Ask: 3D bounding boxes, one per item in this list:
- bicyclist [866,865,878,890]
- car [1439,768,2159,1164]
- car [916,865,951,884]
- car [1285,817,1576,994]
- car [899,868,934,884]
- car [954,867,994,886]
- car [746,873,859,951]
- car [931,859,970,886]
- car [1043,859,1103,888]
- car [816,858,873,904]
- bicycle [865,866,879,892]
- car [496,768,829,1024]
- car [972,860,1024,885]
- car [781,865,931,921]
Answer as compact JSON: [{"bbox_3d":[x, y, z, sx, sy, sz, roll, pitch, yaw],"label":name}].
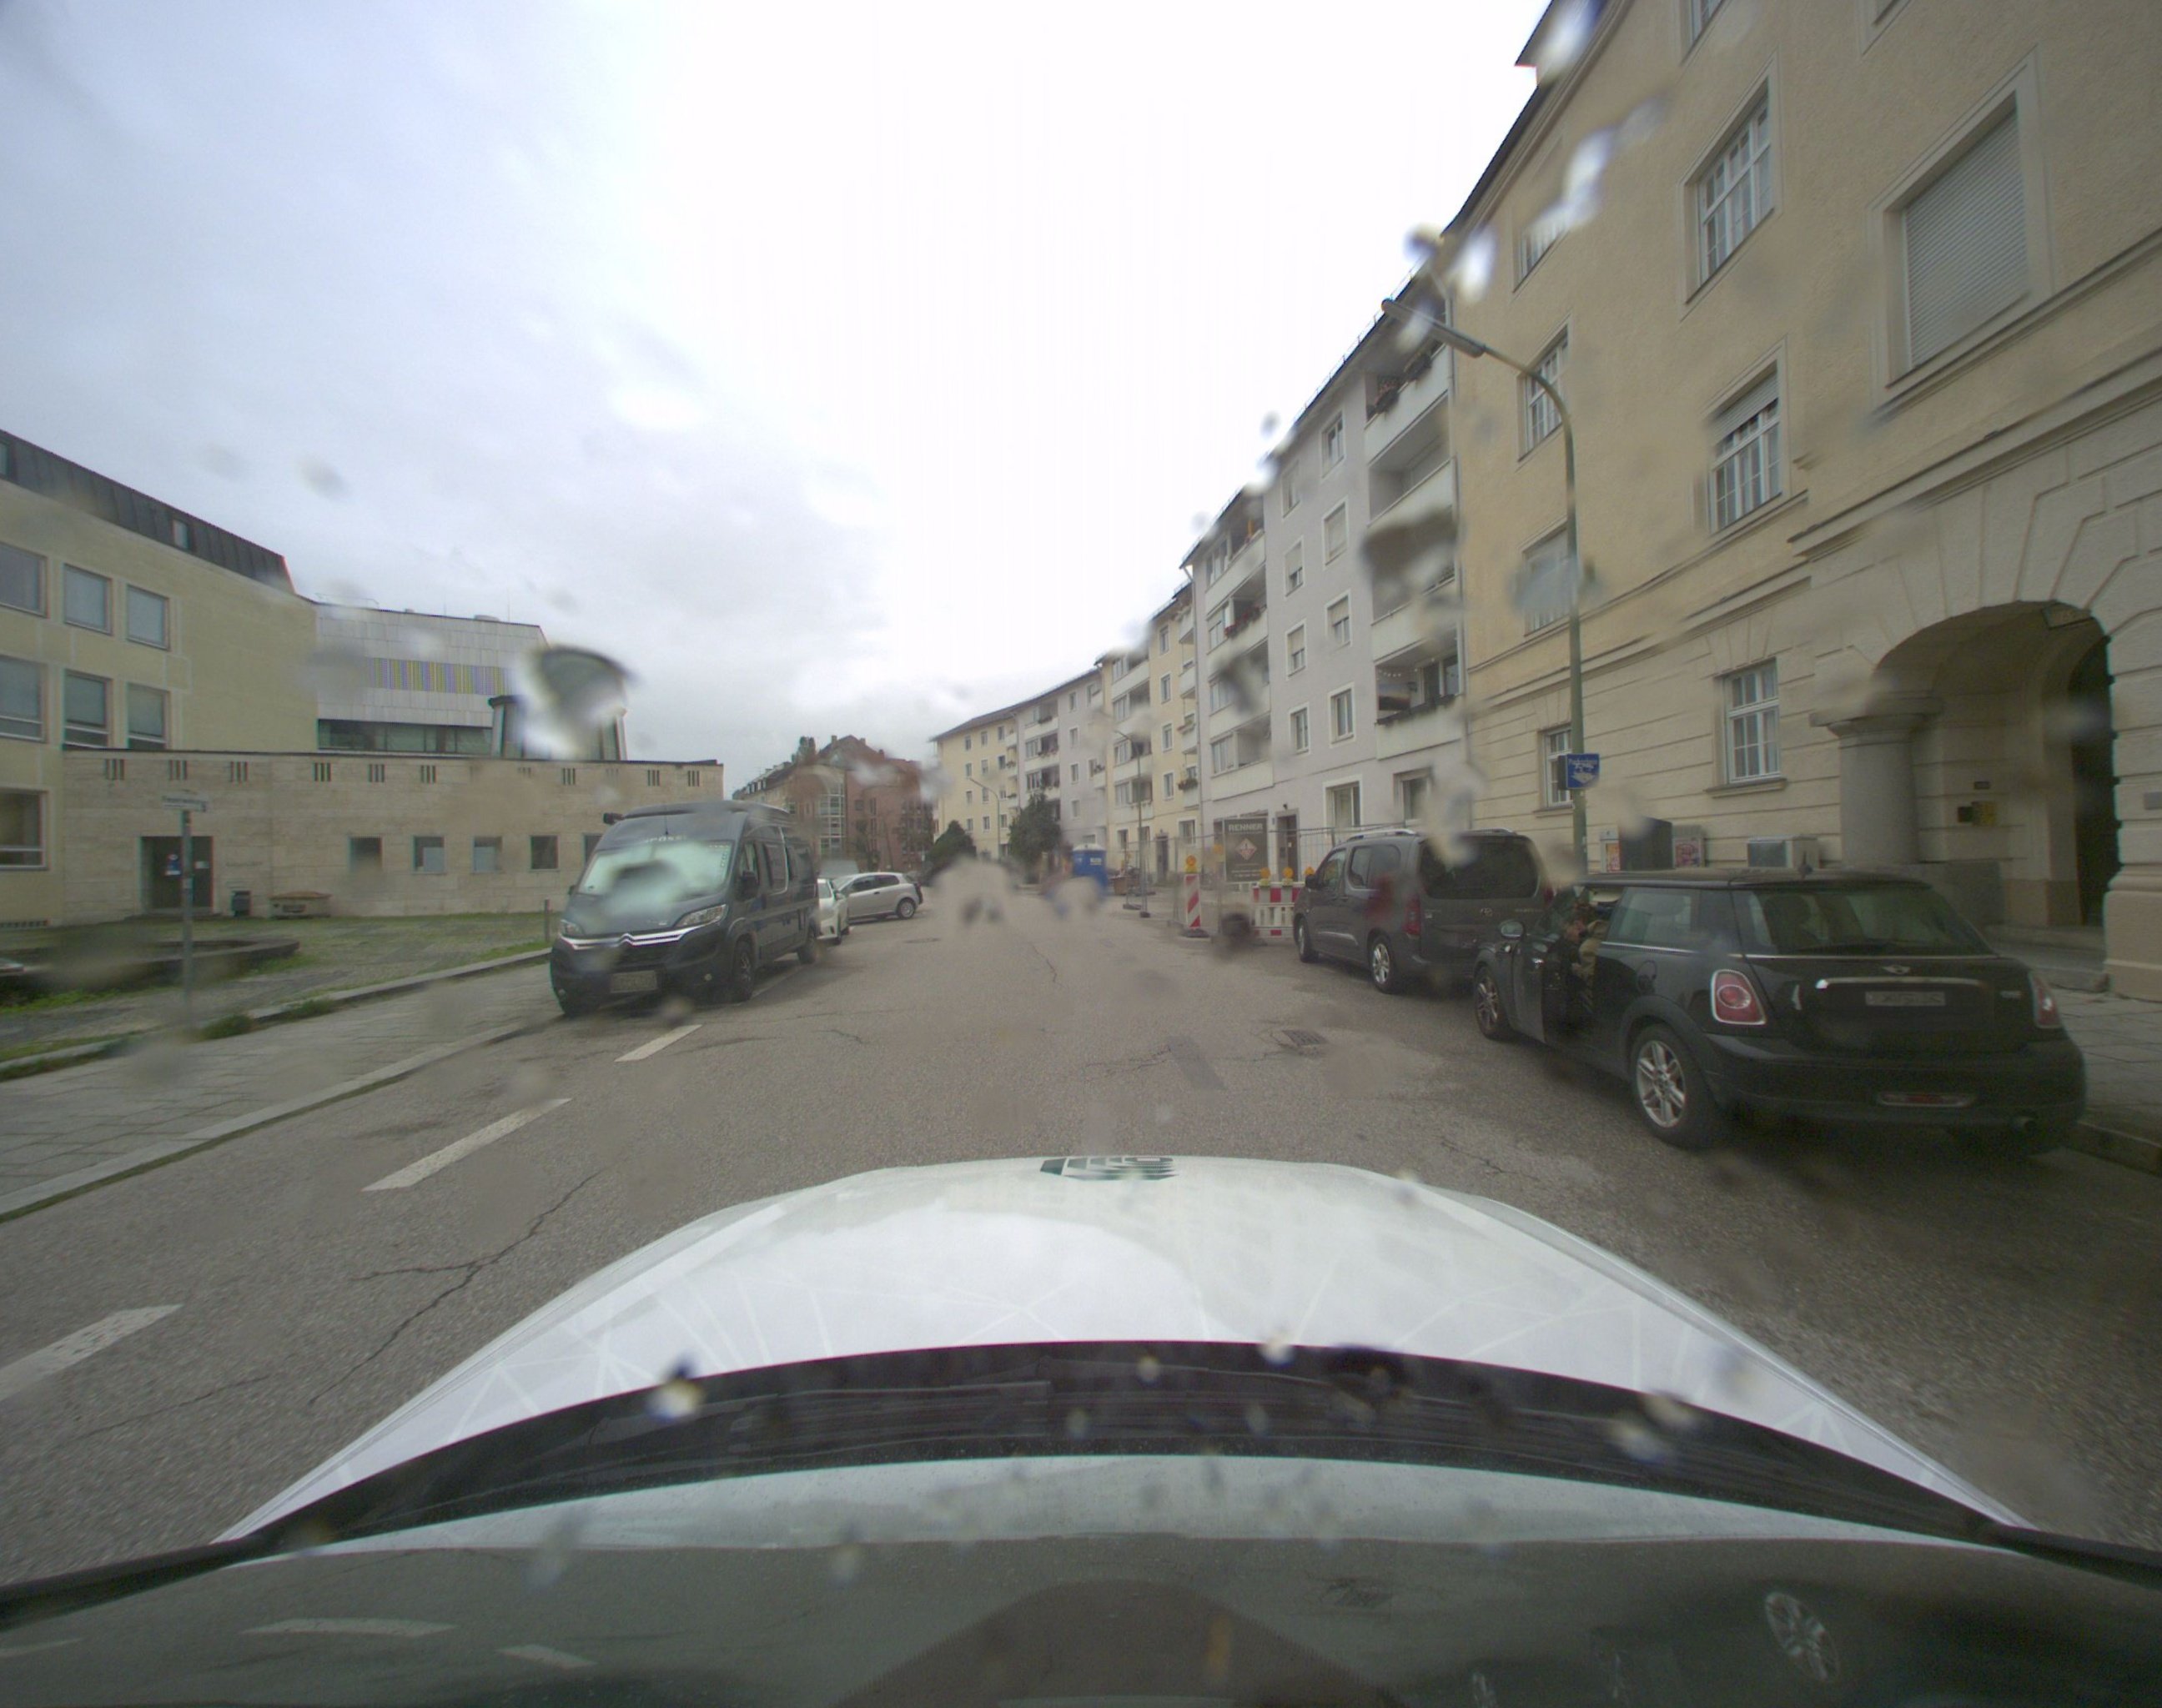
[{"bbox_3d":[-14.732,1.624,57.311,0.749,1.717,1.026,-2,0,-16],"label":"bicyclist"},{"bbox_3d":[3.995,0.517,5.512,1.827,1.730,3.736,0,-1,6],"label":"car"},{"bbox_3d":[-12.825,1.809,70.636,1.668,1.566,4.473,1,-2,-28],"label":"car"},{"bbox_3d":[4.111,0.559,10.446,1.831,1.799,4.235,0,-1,-2],"label":"car"},{"bbox_3d":[-15.112,2.006,74.606,1.767,1.396,4.001,1,-3,-34],"label":"car"},{"bbox_3d":[-8.126,1.739,61.544,1.669,1.349,3.766,1,-3,-31],"label":"car"},{"bbox_3d":[-6.192,1.215,18.558,1.829,1.387,4.124,-5,0,-12],"label":"car"},{"bbox_3d":[-10.558,1.483,65.749,1.757,2.082,4.474,1,-1,-28],"label":"car"},{"bbox_3d":[-0.485,1.004,42.751,1.836,1.442,4.598,1,-1,-19],"label":"car"},{"bbox_3d":[-10.135,1.100,34.678,2.000,1.772,4.782,-1,0,-20],"label":"car"},{"bbox_3d":[-14.783,1.735,57.496,0.797,1.722,3.098,-4,1,-16],"label":"bicycle"},{"bbox_3d":[-5.327,0.463,11.650,2.142,2.574,6.195,-3,-1,-7],"label":"car"},{"bbox_3d":[-5.861,1.302,57.185,2.038,1.678,4.570,1,-1,-28],"label":"car"},{"bbox_3d":[-6.613,1.103,24.249,4.005,1.530,1.655,1,-1,-44],"label":"car"}]
